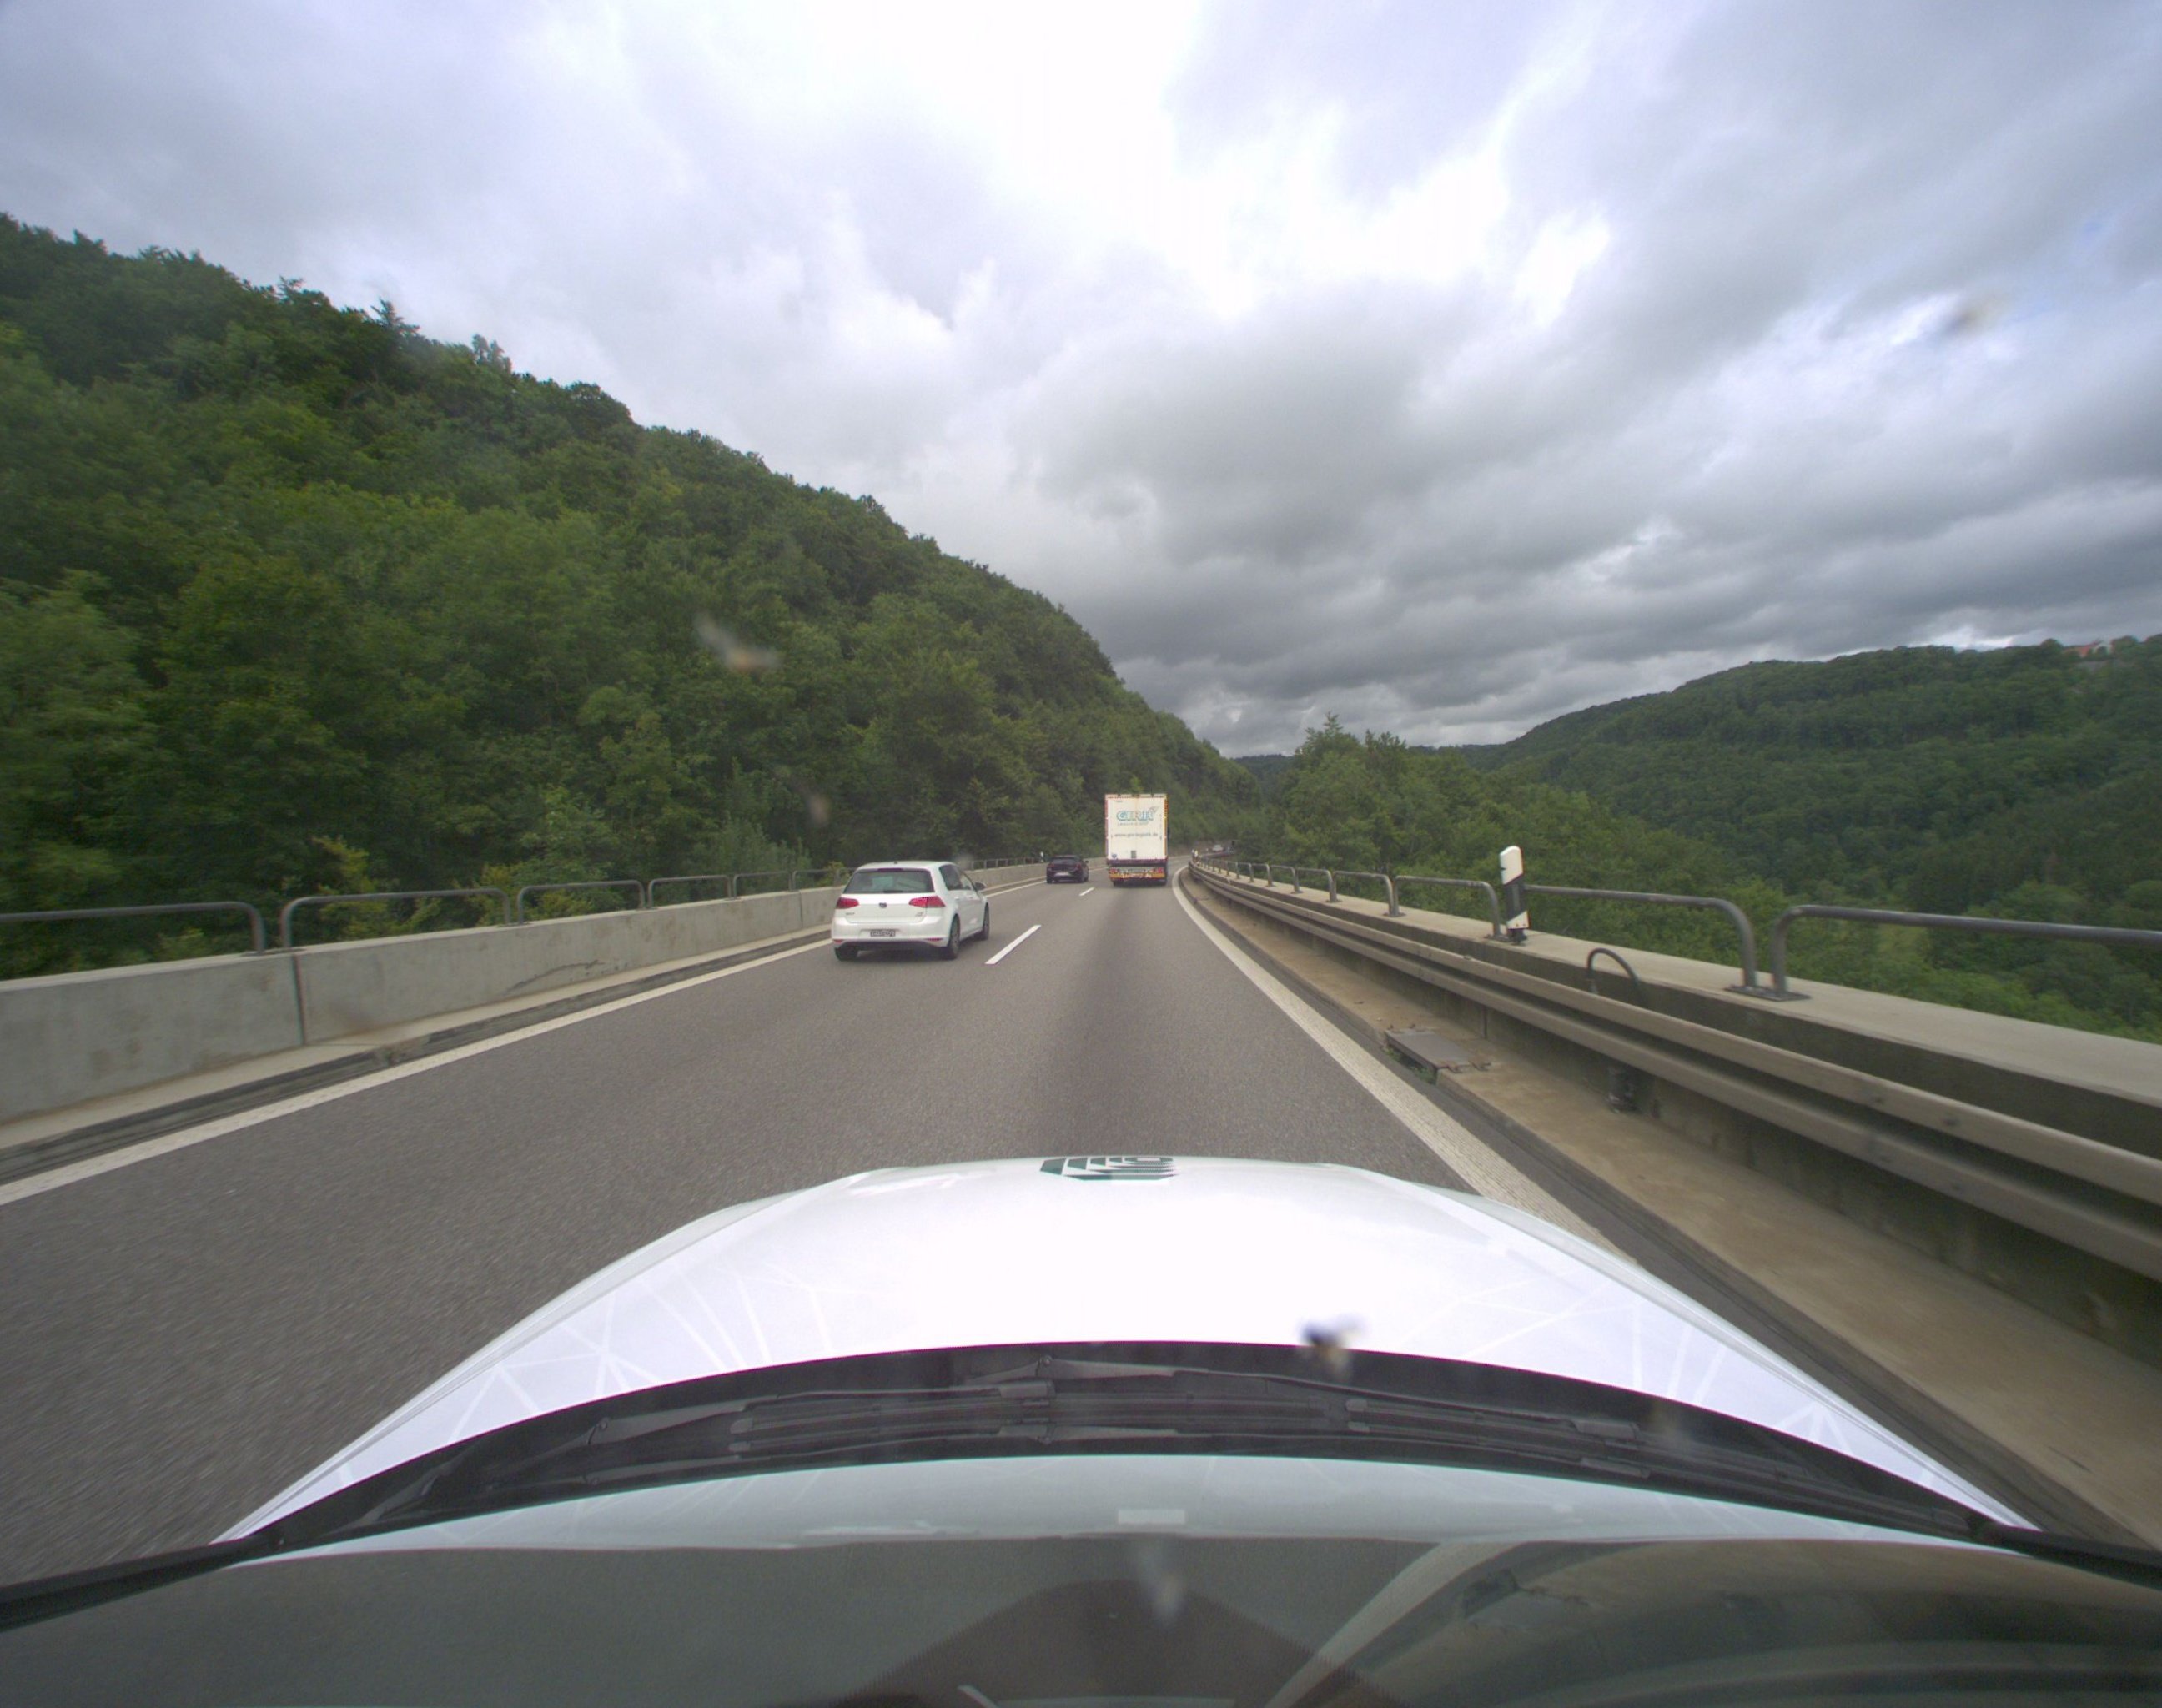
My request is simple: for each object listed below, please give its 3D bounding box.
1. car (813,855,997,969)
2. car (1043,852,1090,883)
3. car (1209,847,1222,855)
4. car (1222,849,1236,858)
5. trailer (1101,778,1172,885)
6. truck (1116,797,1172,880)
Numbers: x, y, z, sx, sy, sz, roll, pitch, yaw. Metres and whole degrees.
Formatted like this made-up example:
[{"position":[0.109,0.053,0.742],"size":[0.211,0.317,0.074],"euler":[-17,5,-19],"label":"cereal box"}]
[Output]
[{"position":[-2.621,0.795,13.333],"size":[1.838,1.481,4.630],"euler":[-1,0,2],"label":"car"},{"position":[-0.691,0.686,41.646],"size":[1.764,1.461,4.590],"euler":[-1,-1,6],"label":"car"},{"position":[26.124,-0.581,158.237],"size":[1.978,1.565,4.017],"euler":[-2,-1,17],"label":"car"},{"position":[27.180,-0.150,149.118],"size":[1.978,1.565,4.017],"euler":[-2,-1,17],"label":"car"},{"position":[2.944,-0.857,39.881],"size":[2.799,4.302,12.265],"euler":[-2,-1,6],"label":"trailer"},{"position":[3.656,-0.795,46.302],"size":[2.799,4.302,6.269],"euler":[-2,-1,6],"label":"truck"}]
